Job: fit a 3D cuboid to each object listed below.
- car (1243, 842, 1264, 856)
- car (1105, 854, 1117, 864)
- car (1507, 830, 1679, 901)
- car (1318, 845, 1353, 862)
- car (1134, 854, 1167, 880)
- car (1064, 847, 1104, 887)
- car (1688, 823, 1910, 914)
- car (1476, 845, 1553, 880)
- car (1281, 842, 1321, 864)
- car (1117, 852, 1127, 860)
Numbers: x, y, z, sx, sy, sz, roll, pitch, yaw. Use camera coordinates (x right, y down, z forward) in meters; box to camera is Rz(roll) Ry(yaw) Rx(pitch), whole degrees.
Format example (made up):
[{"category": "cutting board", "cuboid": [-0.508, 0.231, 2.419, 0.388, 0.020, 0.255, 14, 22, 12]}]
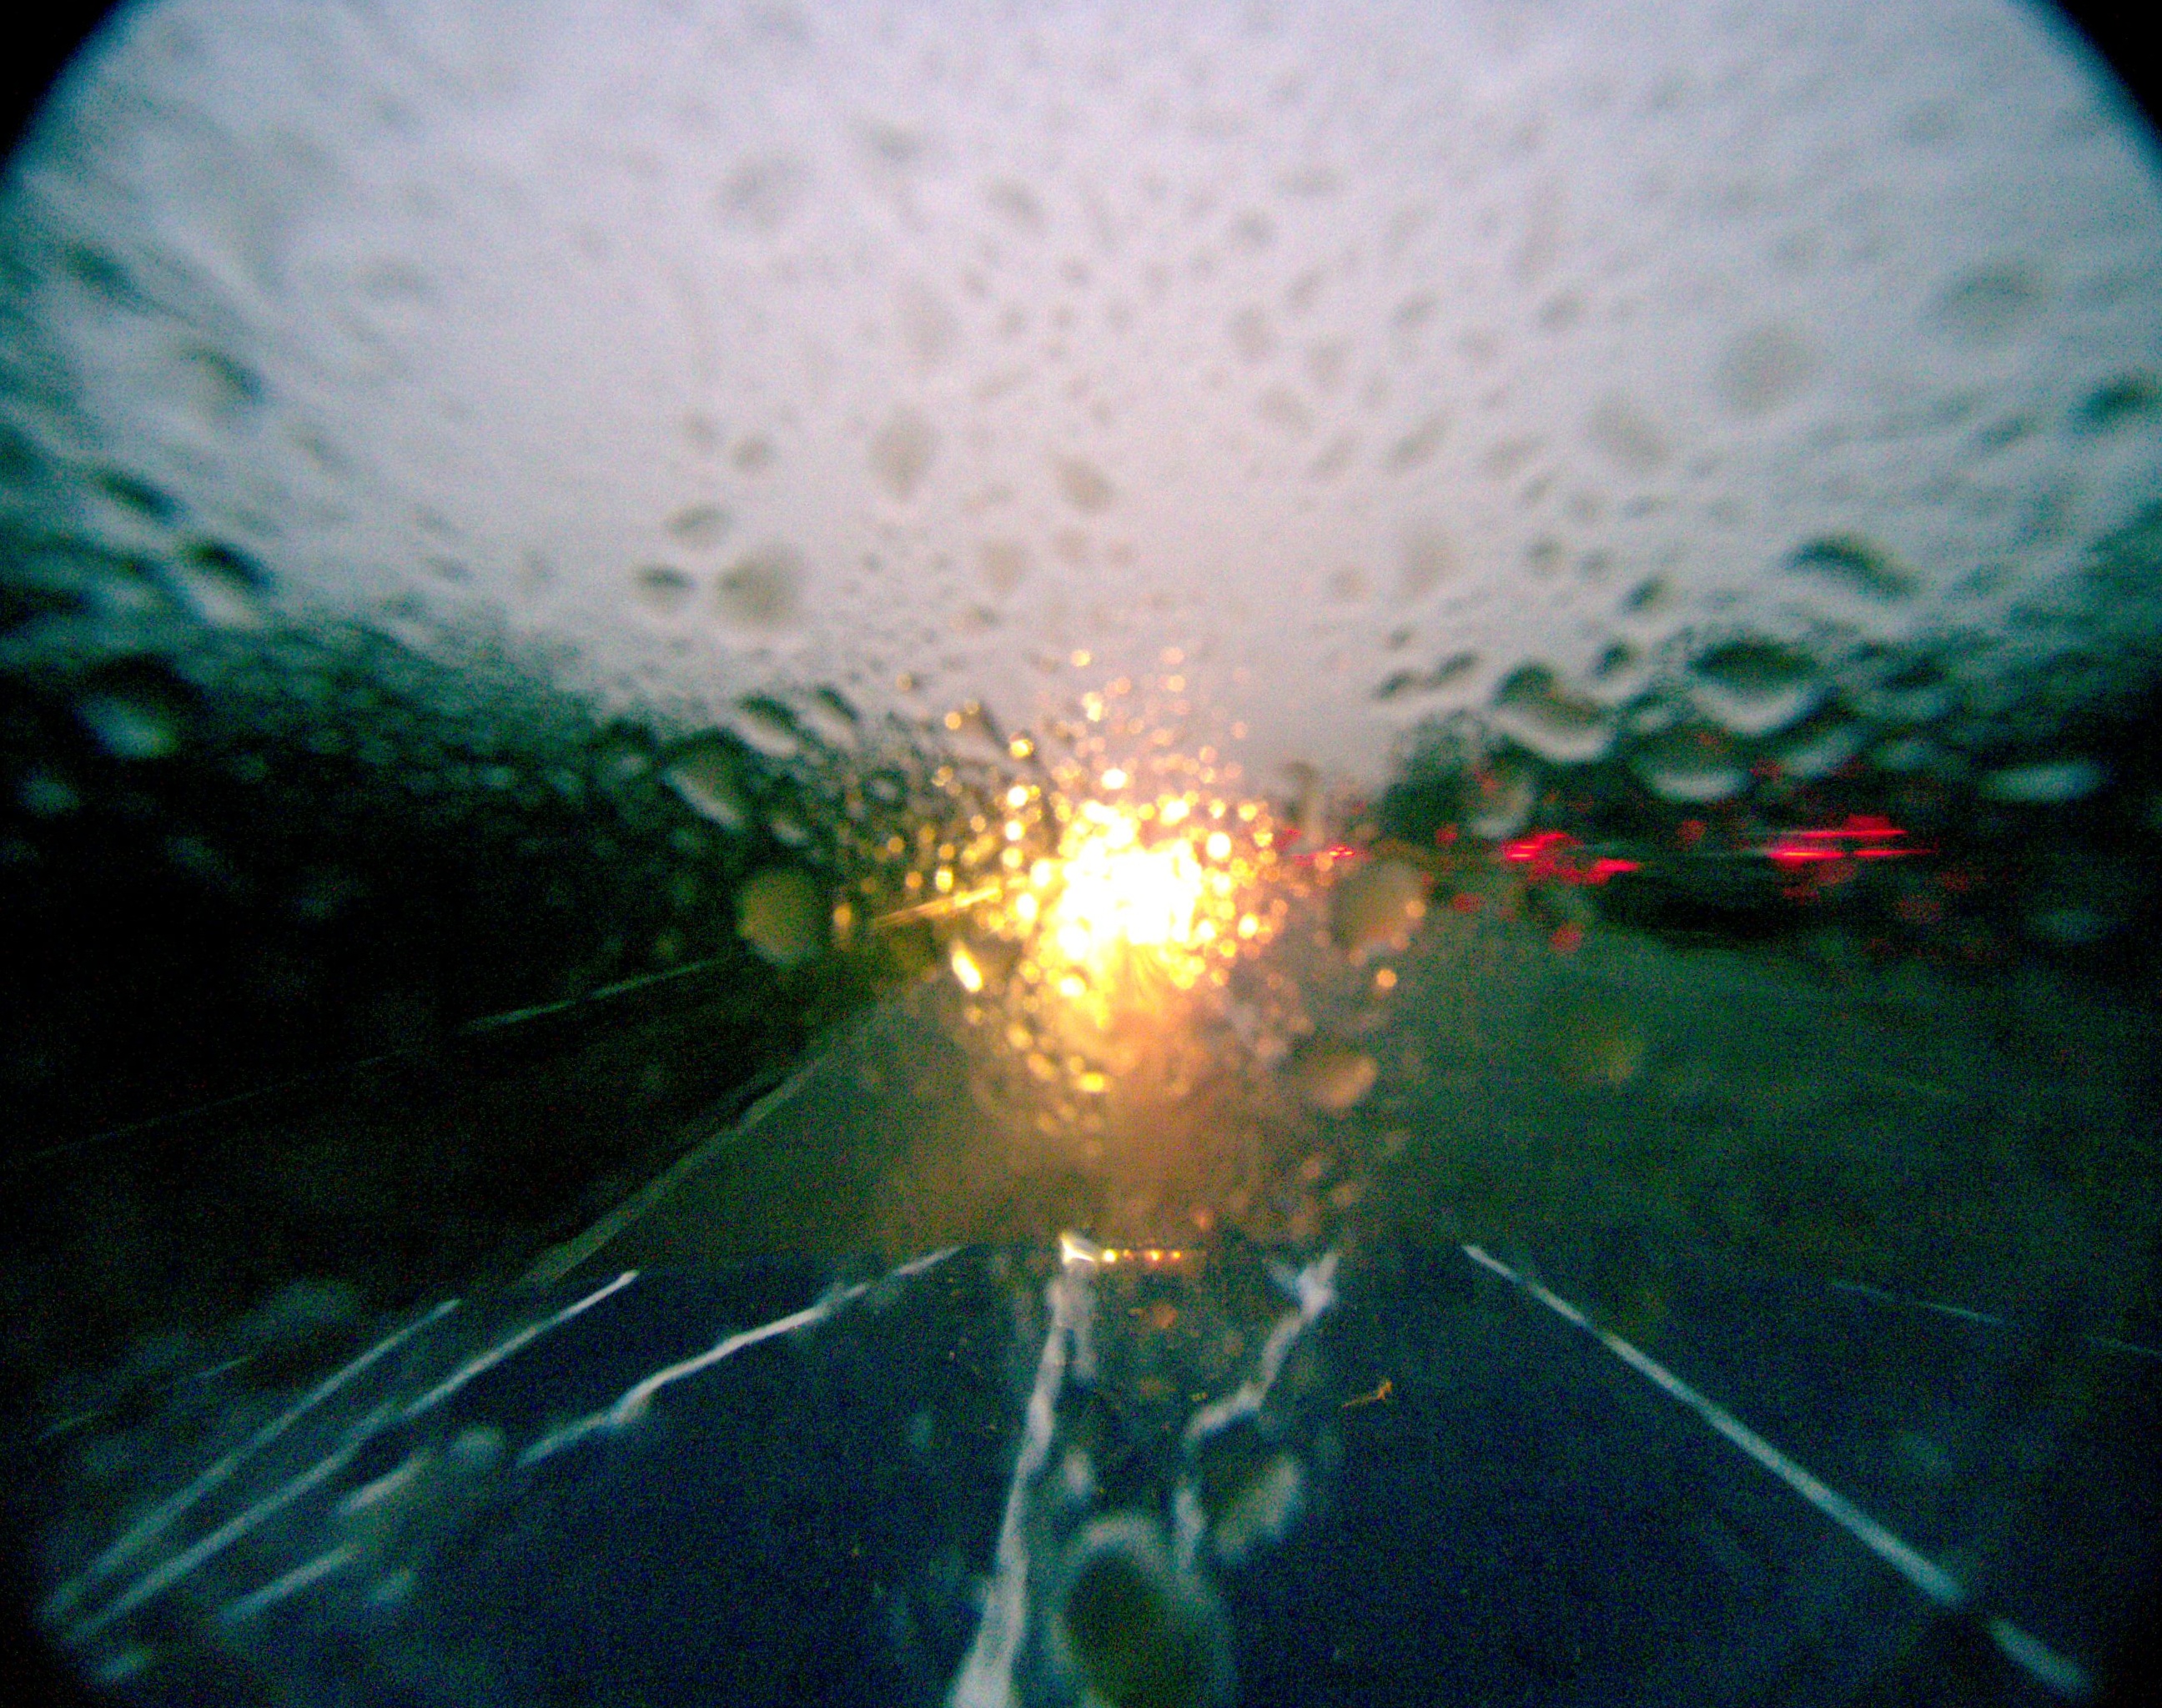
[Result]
[{"category": "car", "cuboid": [20.130, -0.603, 89.008, 1.578, 1.368, 3.841, -3, 2, 1]}, {"category": "car", "cuboid": [3.881, 0.653, 98.184, 1.482, 1.198, 3.349, -3, 0, 2]}, {"category": "car", "cuboid": [14.106, 0.259, 21.305, 1.879, 1.674, 4.381, -3, 1, 1]}, {"category": "car", "cuboid": [23.386, -0.089, 70.010, 1.578, 1.368, 4.782, -3, 2, 1]}, {"category": "car", "cuboid": [4.262, 0.793, 47.044, 1.654, 1.502, 3.874, 2, 0, 0]}, {"category": "car", "cuboid": [0.190, 0.664, 40.846, 1.998, 2.002, 3.964, -1, 0, 1]}, {"category": "car", "cuboid": [18.224, 0.268, 19.590, 1.998, 2.002, 3.999, -3, 2, 2]}, {"category": "car", "cuboid": [22.270, 0.377, 39.205, 1.687, 1.626, 4.203, -1, 1, 2]}, {"category": "car", "cuboid": [15.816, -0.066, 54.710, 1.783, 1.368, 3.841, -3, 2, 1]}, {"category": "car", "cuboid": [7.042, 0.368, 129.068, 1.482, 1.198, 3.350, -3, 0, 5]}]
